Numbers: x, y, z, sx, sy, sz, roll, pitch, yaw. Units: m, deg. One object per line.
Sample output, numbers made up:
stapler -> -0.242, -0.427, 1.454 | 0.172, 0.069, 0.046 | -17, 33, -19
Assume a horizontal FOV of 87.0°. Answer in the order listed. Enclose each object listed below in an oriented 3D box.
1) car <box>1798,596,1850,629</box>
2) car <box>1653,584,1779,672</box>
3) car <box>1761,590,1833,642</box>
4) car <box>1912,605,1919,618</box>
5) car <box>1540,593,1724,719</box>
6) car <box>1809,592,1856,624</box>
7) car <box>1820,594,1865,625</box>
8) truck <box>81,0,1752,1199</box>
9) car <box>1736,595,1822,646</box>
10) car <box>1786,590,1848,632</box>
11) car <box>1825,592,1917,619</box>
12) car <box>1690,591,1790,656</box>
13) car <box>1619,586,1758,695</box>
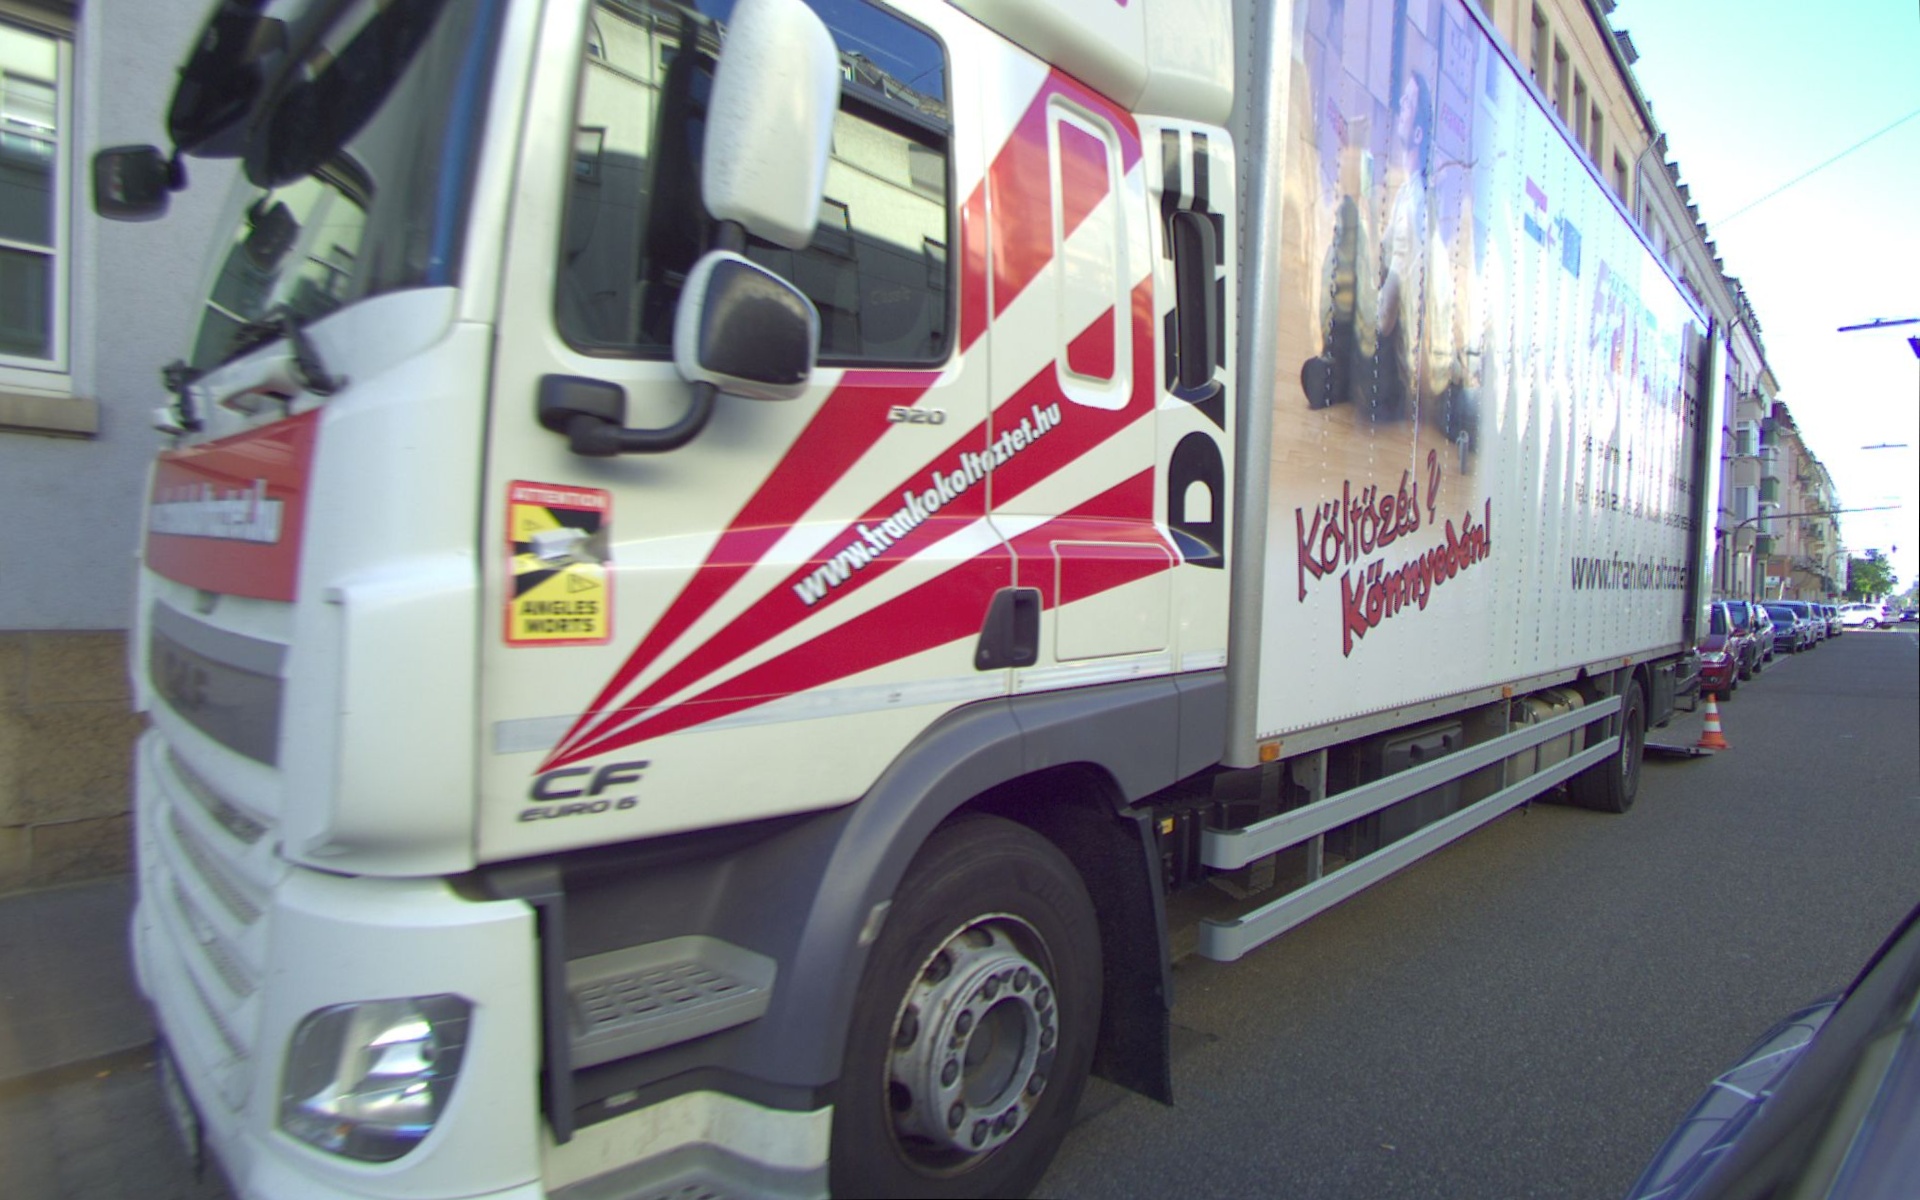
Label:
car -> 42.495, 0.595, 49.765 | 1.699, 1.524, 3.801 | 2, 1, 44
car -> 16.524, 0.538, 22.030 | 1.789, 1.672, 4.300 | 3, 2, 42
car -> 30.547, 0.550, 36.883 | 1.709, 1.714, 4.518 | 3, 2, 43
car -> 107.045, 1.273, 112.352 | 3.934, 1.394, 1.856 | 0, 1, -44
car -> 9.604, 0.684, 14.345 | 1.582, 1.481, 3.821 | 3, 2, 42
car -> 46.035, 0.414, 53.353 | 1.699, 1.610, 3.899 | 2, 1, 43
car -> 50.715, 0.540, 58.142 | 1.700, 1.609, 3.300 | 6, 4, 44
truck -> 2.294, -0.673, 6.332 | 2.861, 4.124, 11.589 | 2, 1, 44
car -> 26.349, 0.623, 32.527 | 1.701, 1.470, 4.137 | 3, 2, 45
car -> 38.698, 0.466, 45.678 | 4.119, 1.719, 1.700 | 0, 2, -44
car -> 60.695, 0.361, 67.509 | 1.736, 1.627, 4.303 | 1, 1, -13
car -> 19.983, 0.551, 25.895 | 1.609, 1.481, 3.424 | 3, 2, 44
car -> 12.862, 0.610, 17.777 | 1.590, 1.629, 4.184 | 3, 2, 41
